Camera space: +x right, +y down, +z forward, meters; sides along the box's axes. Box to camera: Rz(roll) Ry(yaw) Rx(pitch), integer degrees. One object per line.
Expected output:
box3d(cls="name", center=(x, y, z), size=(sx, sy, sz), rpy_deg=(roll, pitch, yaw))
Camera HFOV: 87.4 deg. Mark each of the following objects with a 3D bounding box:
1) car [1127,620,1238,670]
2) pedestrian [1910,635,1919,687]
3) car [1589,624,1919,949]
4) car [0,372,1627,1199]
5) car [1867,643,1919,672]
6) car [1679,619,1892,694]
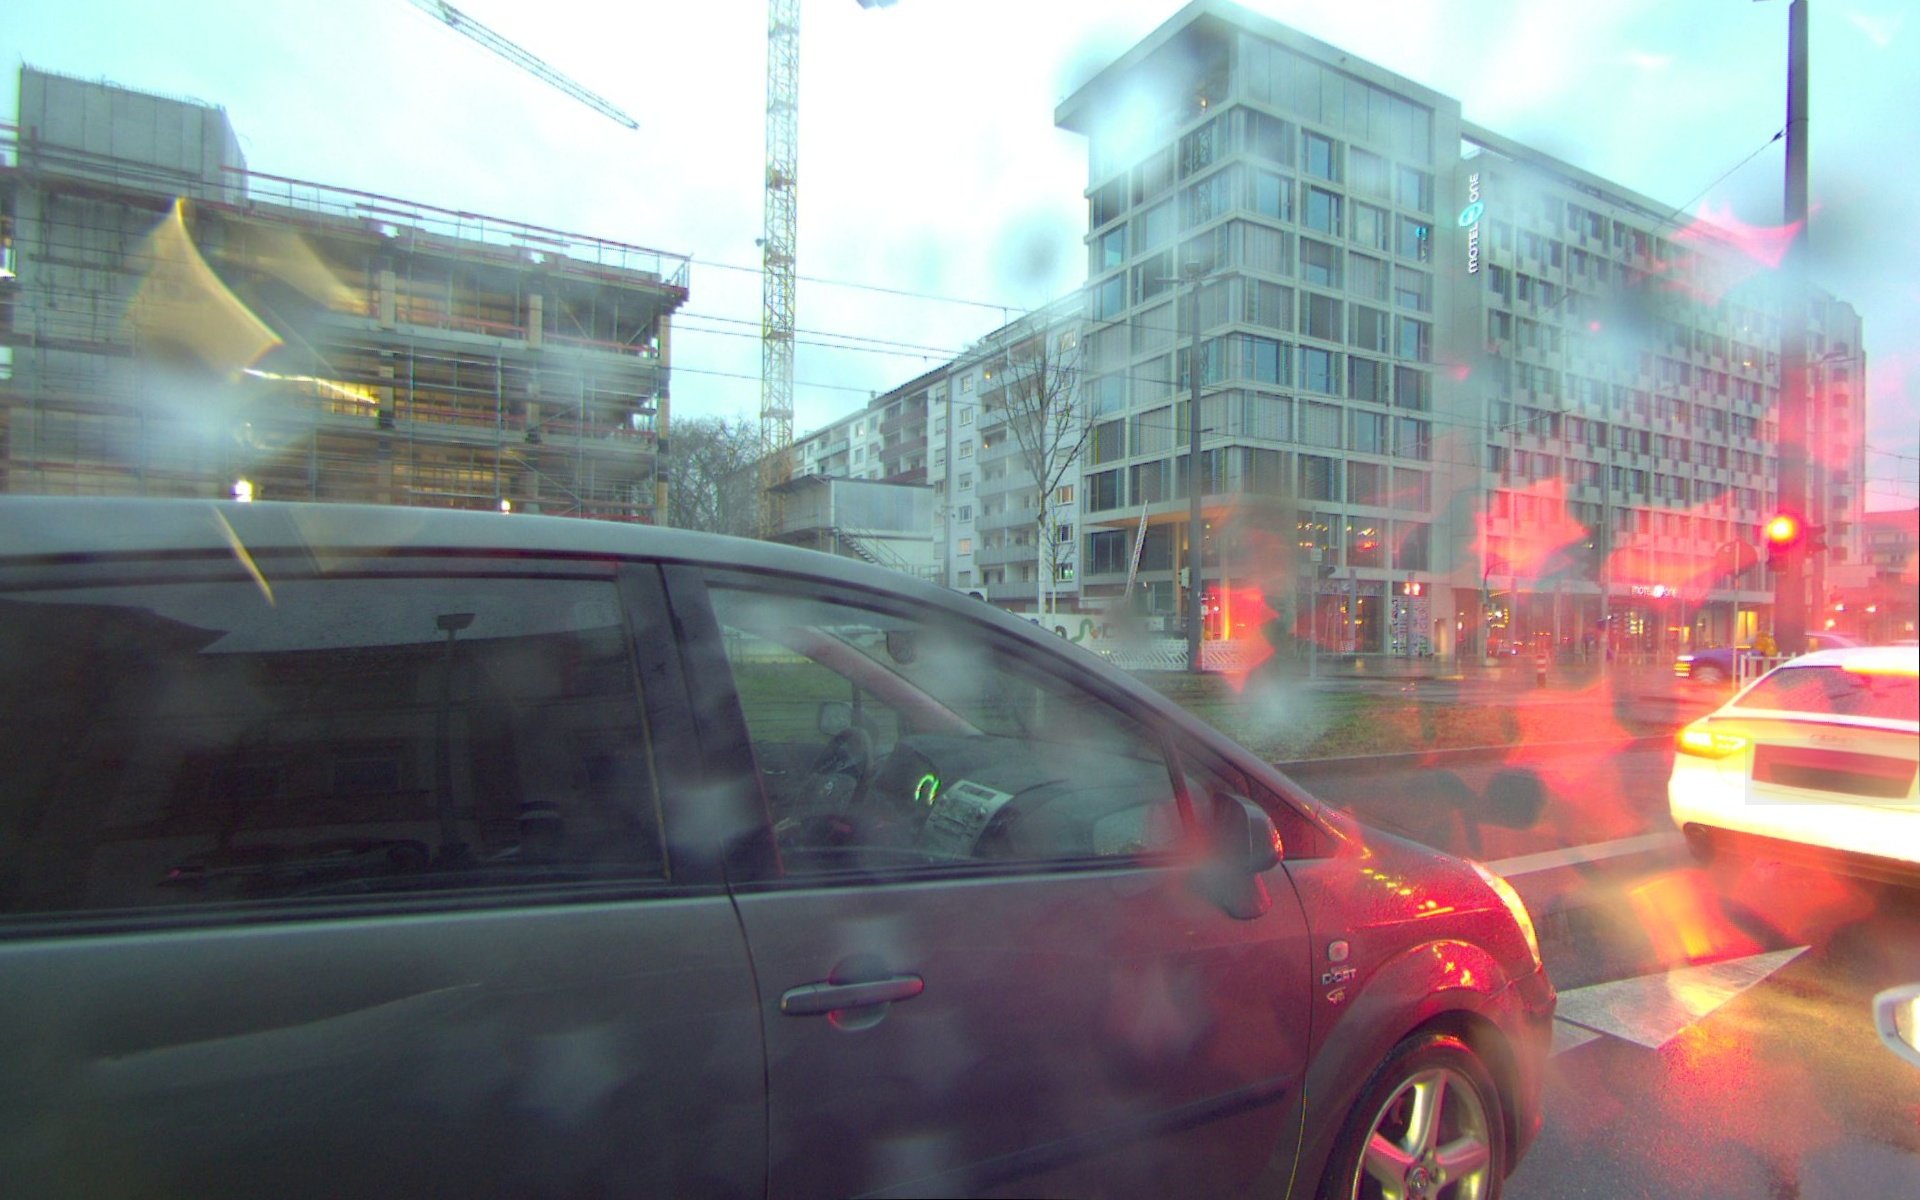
box3d(cls="car", center=(7.684, 1.529, 34.919), size=(3.625, 1.497, 1.629), rpy_deg=(2, 0, 11))
box3d(cls="pedestrian", center=(32.790, 2.093, 34.043), size=(0.808, 1.734, 0.782), rpy_deg=(2, 0, -45))
box3d(cls="car", center=(6.053, 0.926, 6.226), size=(4.320, 1.475, 1.983), rpy_deg=(1, 0, -32))
box3d(cls="car", center=(-0.573, 0.650, 2.131), size=(4.089, 1.668, 1.801), rpy_deg=(1, 0, -32))
box3d(cls="car", center=(55.608, 3.411, 59.539), size=(3.654, 1.527, 1.666), rpy_deg=(3, 0, -31))
box3d(cls="car", center=(21.362, 1.413, 26.133), size=(1.703, 1.644, 3.958), rpy_deg=(2, 0, -37))
